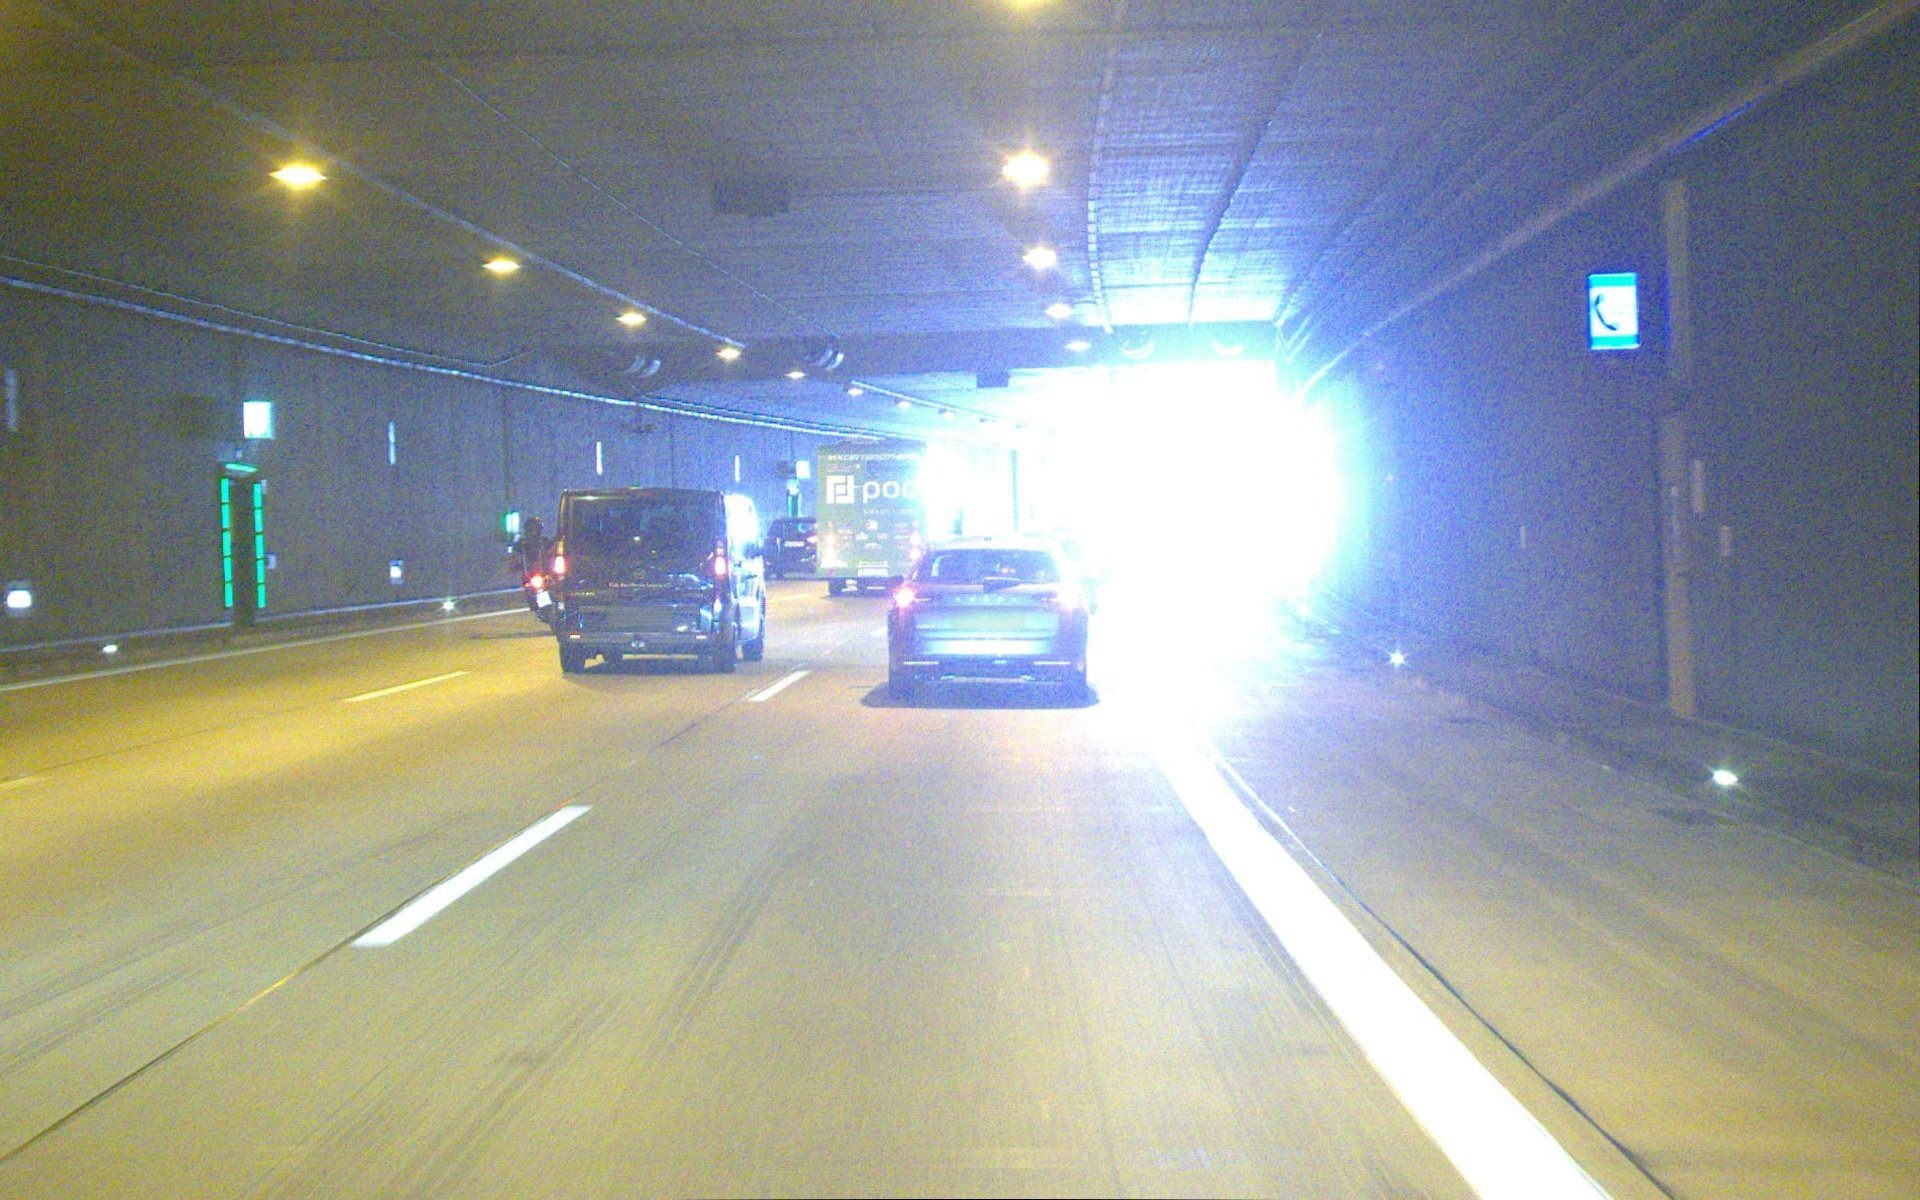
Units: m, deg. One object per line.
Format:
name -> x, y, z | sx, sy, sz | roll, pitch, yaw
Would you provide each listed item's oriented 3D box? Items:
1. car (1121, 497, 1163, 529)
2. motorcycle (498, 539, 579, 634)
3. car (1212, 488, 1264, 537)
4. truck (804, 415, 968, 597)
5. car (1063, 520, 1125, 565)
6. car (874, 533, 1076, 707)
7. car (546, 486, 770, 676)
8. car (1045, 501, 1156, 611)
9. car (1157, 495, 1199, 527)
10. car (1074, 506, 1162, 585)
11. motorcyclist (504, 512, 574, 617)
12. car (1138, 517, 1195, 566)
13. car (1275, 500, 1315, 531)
car -> 9.512, -4.551, 179.772 | 1.931, 1.637, 3.999 | 0, 1, 7
motorcycle -> -5.901, -0.181, 48.234 | 0.683, 1.292, 2.398 | -1, 0, 3
car -> 12.295, -3.871, 152.248 | 1.993, 2.007, 4.000 | 0, -1, 1
truck -> -1.497, -1.963, 73.224 | 3.039, 3.660, 7.392 | 0, 1, 2
car -> 5.156, -2.193, 132.059 | 1.994, 1.626, 3.999 | 0, 0, 8
car -> 0.166, 0.137, 31.804 | 1.742, 1.459, 3.871 | -1, 2, 1
car -> -3.224, -0.253, 37.388 | 1.910, 1.937, 3.871 | -1, 2, 3
car -> 2.474, -0.769, 59.931 | 1.857, 1.848, 4.000 | 0, 1, 3
car -> 12.499, -5.084, 196.995 | 1.931, 1.637, 3.998 | -1, -1, 10
car -> 3.832, -1.289, 82.793 | 1.950, 1.766, 3.999 | -1, -1, 5
motorcyclist -> -5.902, -0.490, 48.222 | 0.777, 1.448, 1.068 | -1, -1, 4
car -> 7.451, -2.089, 124.166 | 1.930, 1.637, 4.000 | 0, -1, 2
car -> 18.055, -4.542, 185.226 | 1.931, 1.637, 3.999 | 0, 1, 8
